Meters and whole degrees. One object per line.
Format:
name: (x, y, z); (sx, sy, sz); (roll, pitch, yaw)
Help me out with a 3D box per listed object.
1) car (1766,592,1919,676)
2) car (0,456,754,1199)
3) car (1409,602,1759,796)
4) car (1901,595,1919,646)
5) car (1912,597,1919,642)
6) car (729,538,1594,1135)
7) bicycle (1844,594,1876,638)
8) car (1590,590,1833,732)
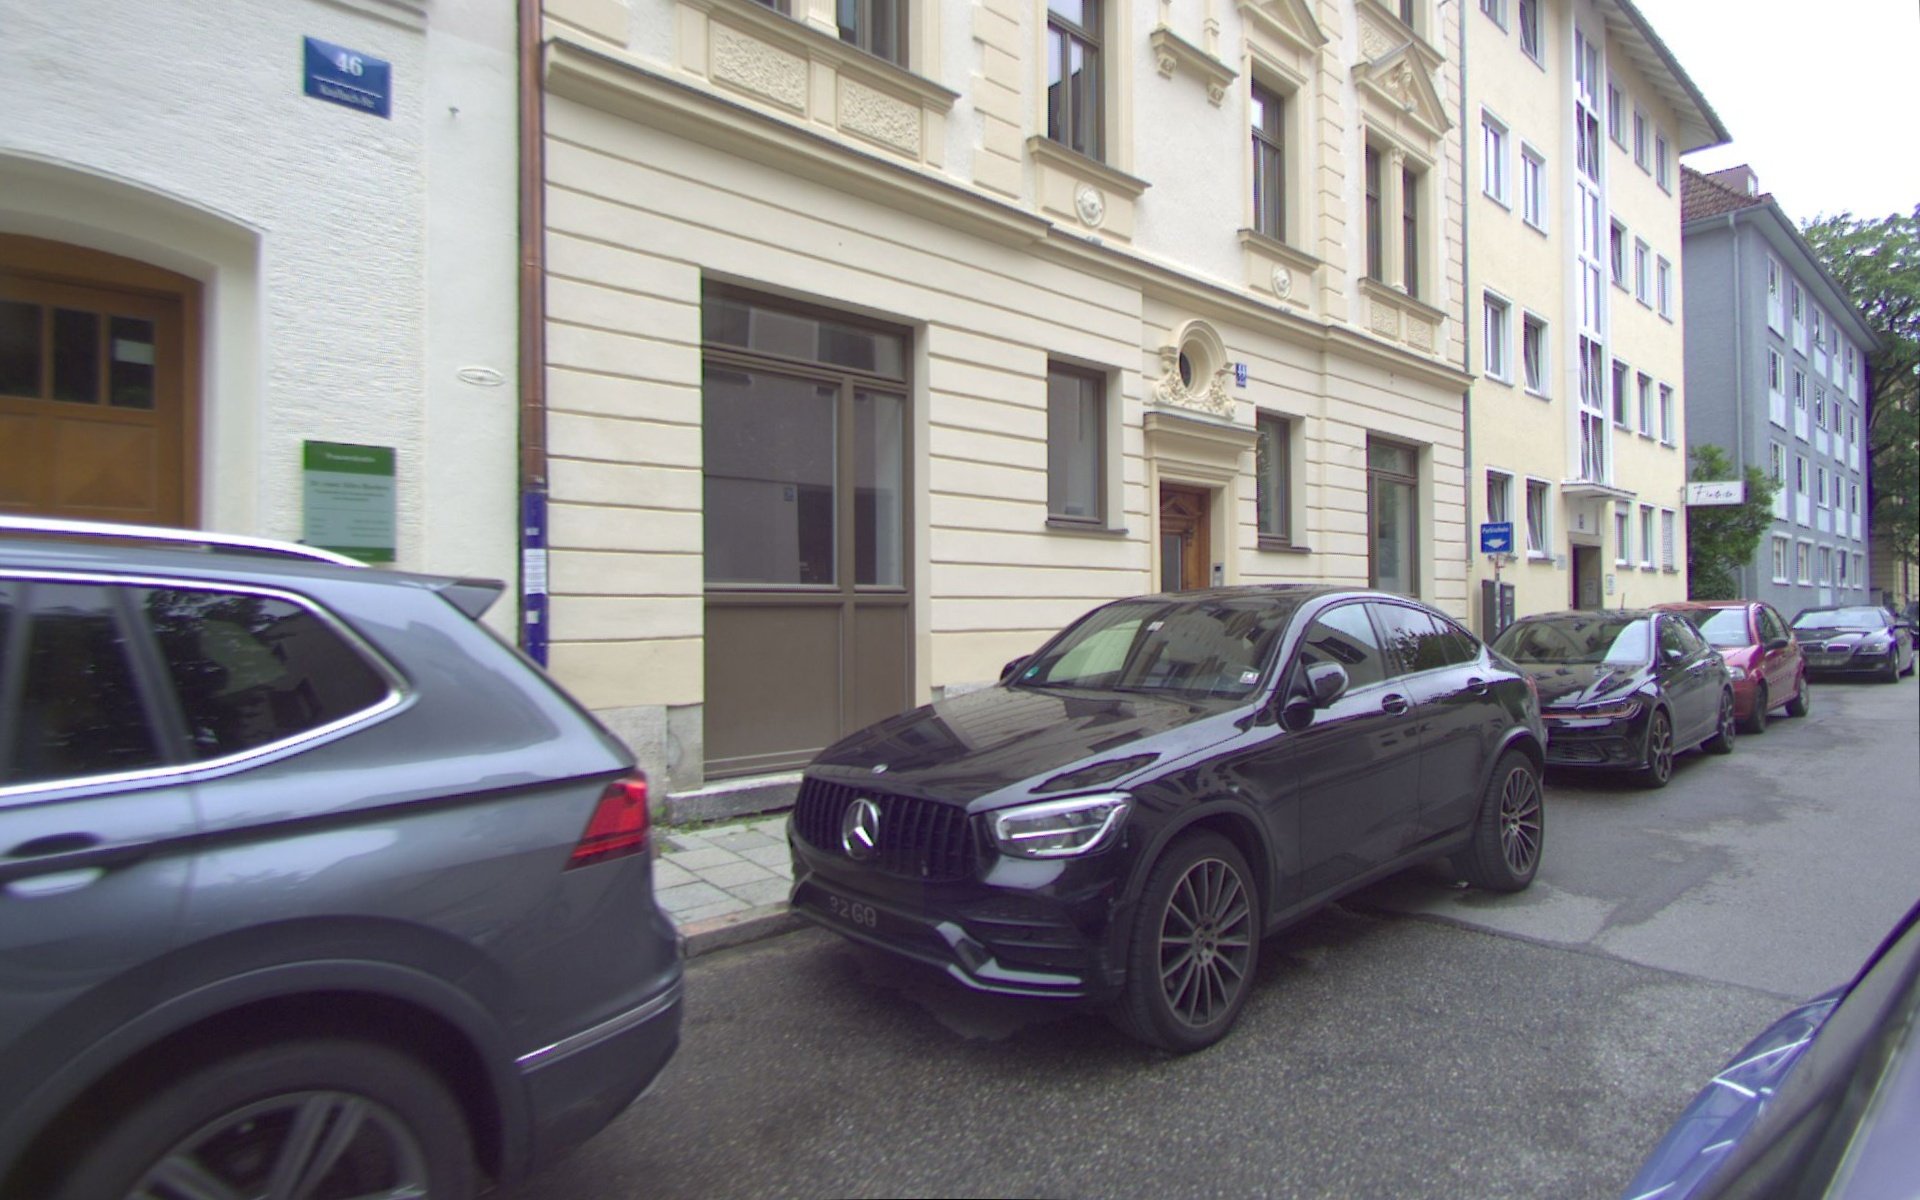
car: (16.715, 0.607, 18.872); (4.431, 1.352, 1.827); (0, -4, -42)
car: (-2.694, 0.640, 1.536); (4.434, 1.682, 1.678); (0, -1, -41)
car: (5.931, 0.745, 9.429); (3.995, 1.411, 1.678); (0, -1, -41)
car: (29.553, 0.534, 30.147); (4.192, 1.447, 1.842); (0, -5, -43)
car: (33.029, 0.559, 33.382); (4.406, 1.420, 1.792); (0, -4, -40)
car: (1.355, 0.648, 4.946); (4.603, 1.627, 1.704); (0, -1, -41)
bicycle: (31.602, 0.530, 35.522); (2.239, 1.505, 0.515); (0, -1, -41)
car: (9.475, 0.652, 12.666); (3.786, 1.511, 1.678); (0, -1, -41)
